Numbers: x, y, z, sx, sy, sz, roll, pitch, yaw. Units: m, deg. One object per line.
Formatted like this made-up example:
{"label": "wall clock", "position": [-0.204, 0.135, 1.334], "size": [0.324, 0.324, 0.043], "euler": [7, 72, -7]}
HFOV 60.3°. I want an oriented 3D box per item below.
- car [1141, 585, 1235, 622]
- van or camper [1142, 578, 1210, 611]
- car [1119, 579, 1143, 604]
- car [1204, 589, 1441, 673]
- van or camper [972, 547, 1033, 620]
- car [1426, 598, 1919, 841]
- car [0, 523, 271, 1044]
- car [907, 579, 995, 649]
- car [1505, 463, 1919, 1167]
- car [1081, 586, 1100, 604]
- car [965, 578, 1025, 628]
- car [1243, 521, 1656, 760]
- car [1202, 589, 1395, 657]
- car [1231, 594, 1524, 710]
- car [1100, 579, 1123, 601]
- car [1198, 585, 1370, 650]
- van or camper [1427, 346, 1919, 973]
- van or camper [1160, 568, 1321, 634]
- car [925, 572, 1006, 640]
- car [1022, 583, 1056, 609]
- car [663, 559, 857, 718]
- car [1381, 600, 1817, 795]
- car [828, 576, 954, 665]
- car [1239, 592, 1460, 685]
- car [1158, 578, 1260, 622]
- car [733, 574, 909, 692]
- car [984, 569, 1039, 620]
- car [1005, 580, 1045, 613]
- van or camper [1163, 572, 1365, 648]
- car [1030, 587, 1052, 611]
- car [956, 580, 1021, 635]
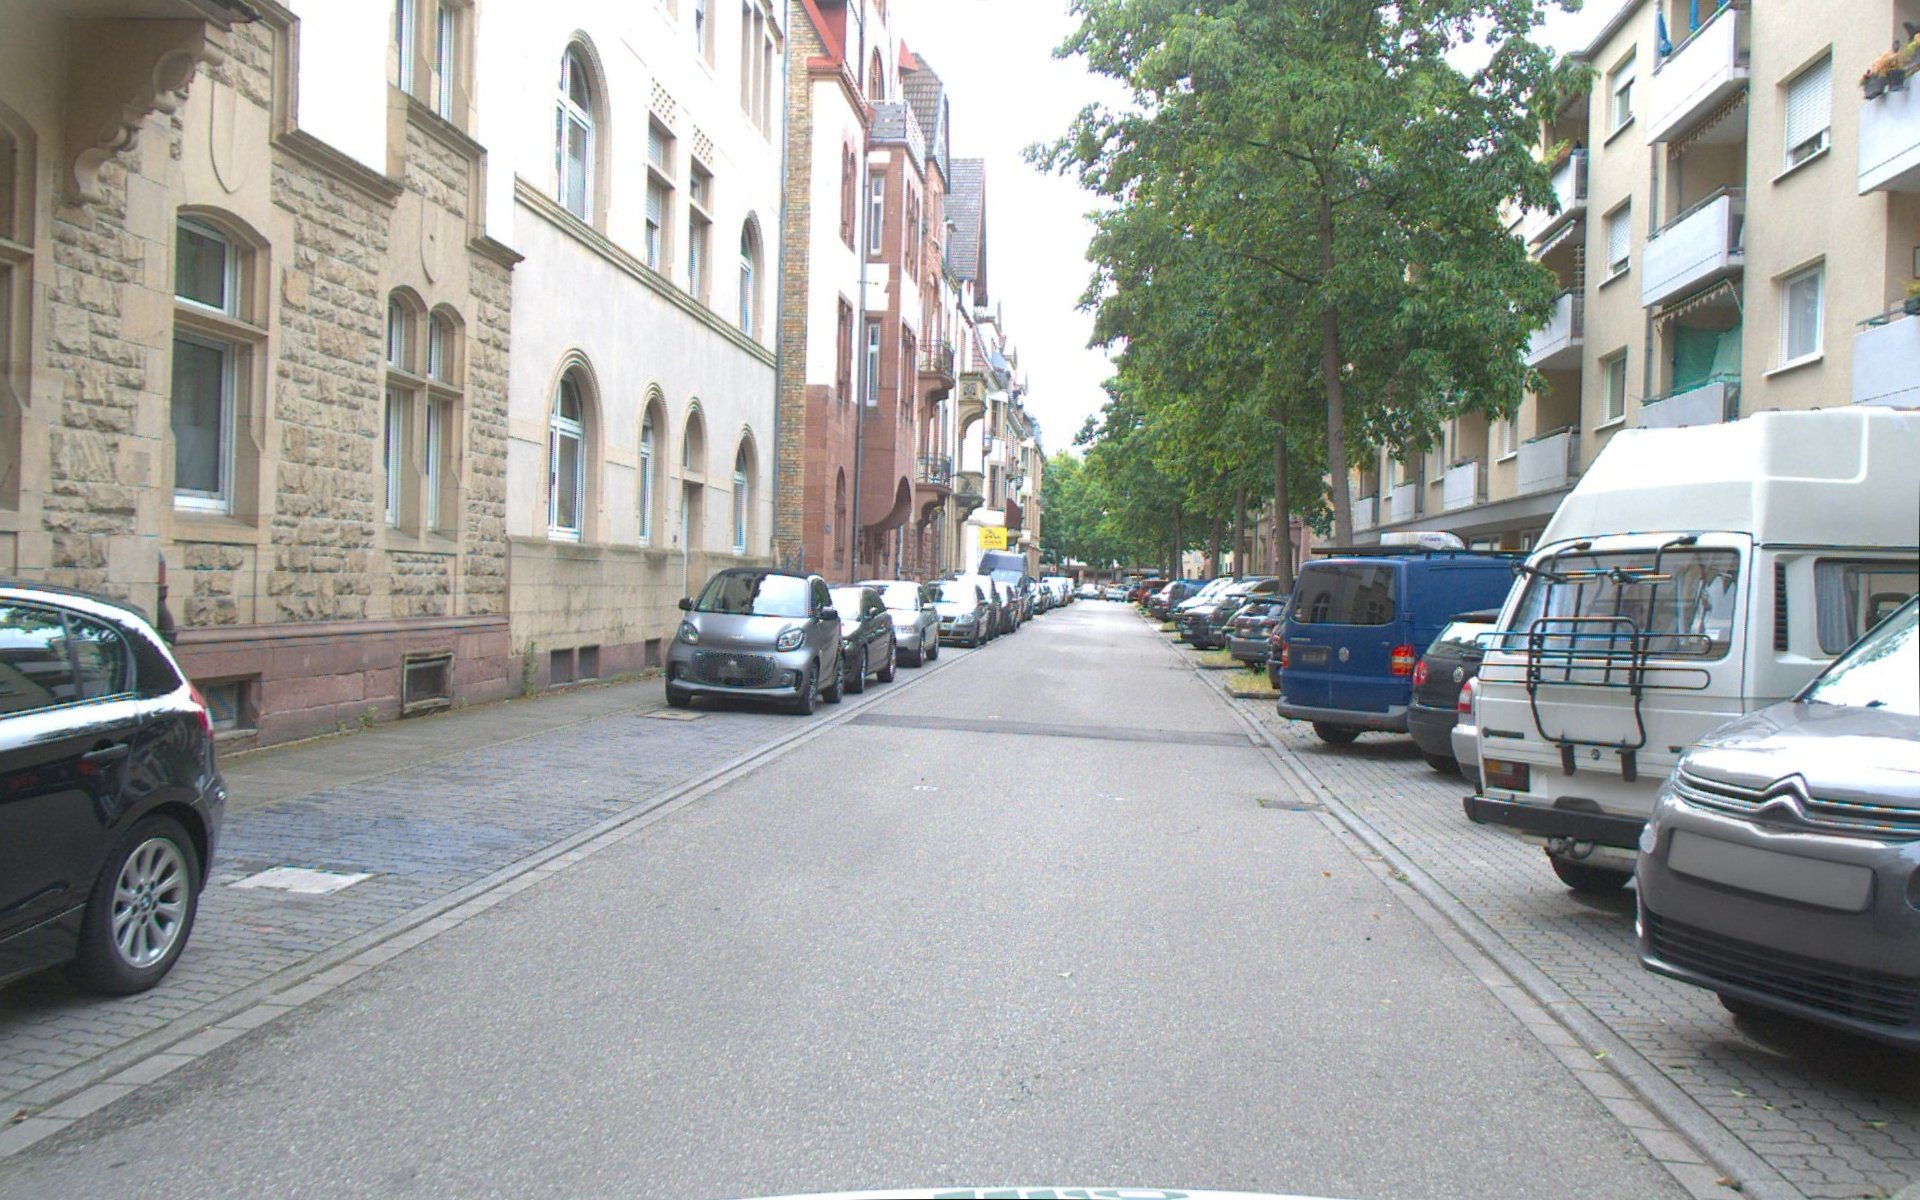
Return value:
{"label": "car", "position": [10.612, 0.161, 76.874], "size": [3.960, 1.586, 1.869], "euler": [1, 1, -26]}
{"label": "van or camper", "position": [14.388, -0.369, 110.188], "size": [4.090, 2.122, 1.939], "euler": [1, 1, -23]}
{"label": "car", "position": [15.196, -0.770, 147.248], "size": [1.952, 2.048, 4.002], "euler": [4, 1, 5]}
{"label": "car", "position": [7.055, 0.559, 32.200], "size": [4.155, 1.527, 1.962], "euler": [-1, 0, -23]}
{"label": "van or camper", "position": [1.698, -0.643, 64.712], "size": [1.966, 2.698, 5.319], "euler": [1, 1, 5]}
{"label": "car", "position": [5.401, 0.761, 12.010], "size": [3.762, 1.442, 1.708], "euler": [-1, -1, -29]}
{"label": "car", "position": [-3.711, 0.526, 4.400], "size": [1.673, 1.520, 4.003], "euler": [3, 2, 6]}
{"label": "car", "position": [-0.168, 0.288, 38.749], "size": [1.628, 1.445, 3.932], "euler": [3, 1, 5]}
{"label": "car", "position": [4.331, 0.601, 5.908], "size": [4.268, 1.886, 1.900], "euler": [1, 1, -20]}
{"label": "car", "position": [12.873, -0.493, 163.662], "size": [1.783, 1.673, 3.755], "euler": [3, 0, 5]}
{"label": "car", "position": [1.188, 0.119, 54.824], "size": [1.632, 1.498, 4.002], "euler": [3, 0, 5]}
{"label": "car", "position": [5.277, 0.378, 17.610], "size": [4.353, 2.234, 2.040], "euler": [1, 1, -38]}
{"label": "car", "position": [7.785, 0.506, 38.113], "size": [3.981, 1.509, 1.936], "euler": [0, 0, -21]}
{"label": "car", "position": [5.944, 0.687, 23.380], "size": [4.066, 1.467, 1.830], "euler": [1, 1, -35]}
{"label": "car", "position": [13.900, -0.888, 152.221], "size": [1.952, 1.825, 4.002], "euler": [3, 0, 4]}
{"label": "car", "position": [7.985, 0.410, 40.818], "size": [3.799, 1.528, 1.899], "euler": [0, 0, -24]}
{"label": "van or camper", "position": [4.899, 0.270, 8.873], "size": [4.528, 2.641, 1.894], "euler": [1, 0, -28]}
{"label": "van or camper", "position": [8.899, 0.044, 52.519], "size": [4.660, 2.029, 1.988], "euler": [0, -1, -20]}
{"label": "car", "position": [0.188, 0.121, 44.748], "size": [1.749, 1.675, 4.364], "euler": [3, 1, 5]}
{"label": "car", "position": [4.997, -0.263, 103.868], "size": [1.951, 1.501, 4.003], "euler": [1, 1, 5]}
{"label": "car", "position": [-2.233, 0.374, 19.148], "size": [1.612, 1.597, 2.959], "euler": [3, 2, 4]}
{"label": "car", "position": [5.705, 0.805, 14.722], "size": [3.614, 1.506, 1.674], "euler": [1, 1, -28]}
{"label": "car", "position": [-1.180, 0.318, 29.922], "size": [1.690, 1.410, 4.140], "euler": [3, 1, 5]}
{"label": "car", "position": [6.761, 0.637, 28.822], "size": [3.306, 1.523, 1.843], "euler": [0, 0, -17]}
{"label": "car", "position": [11.142, -0.025, 73.983], "size": [4.118, 1.902, 1.985], "euler": [-1, 0, -25]}
{"label": "car", "position": [-1.830, 0.433, 22.915], "size": [1.690, 1.410, 3.931], "euler": [3, 0, 5]}
{"label": "car", "position": [2.220, -0.256, 69.949], "size": [1.951, 2.049, 4.894], "euler": [1, 1, 5]}
{"label": "car", "position": [3.224, -0.193, 81.188], "size": [1.752, 1.506, 4.025], "euler": [3, 1, 4]}
{"label": "van or camper", "position": [8.030, 0.228, 43.677], "size": [4.937, 1.902, 2.113], "euler": [0, 0, -23]}
{"label": "car", "position": [4.700, -0.077, 95.671], "size": [1.112, 1.332, 3.262], "euler": [-2, 0, 4]}
{"label": "car", "position": [0.905, 0.190, 49.982], "size": [1.600, 1.498, 4.003], "euler": [3, 1, 5]}
